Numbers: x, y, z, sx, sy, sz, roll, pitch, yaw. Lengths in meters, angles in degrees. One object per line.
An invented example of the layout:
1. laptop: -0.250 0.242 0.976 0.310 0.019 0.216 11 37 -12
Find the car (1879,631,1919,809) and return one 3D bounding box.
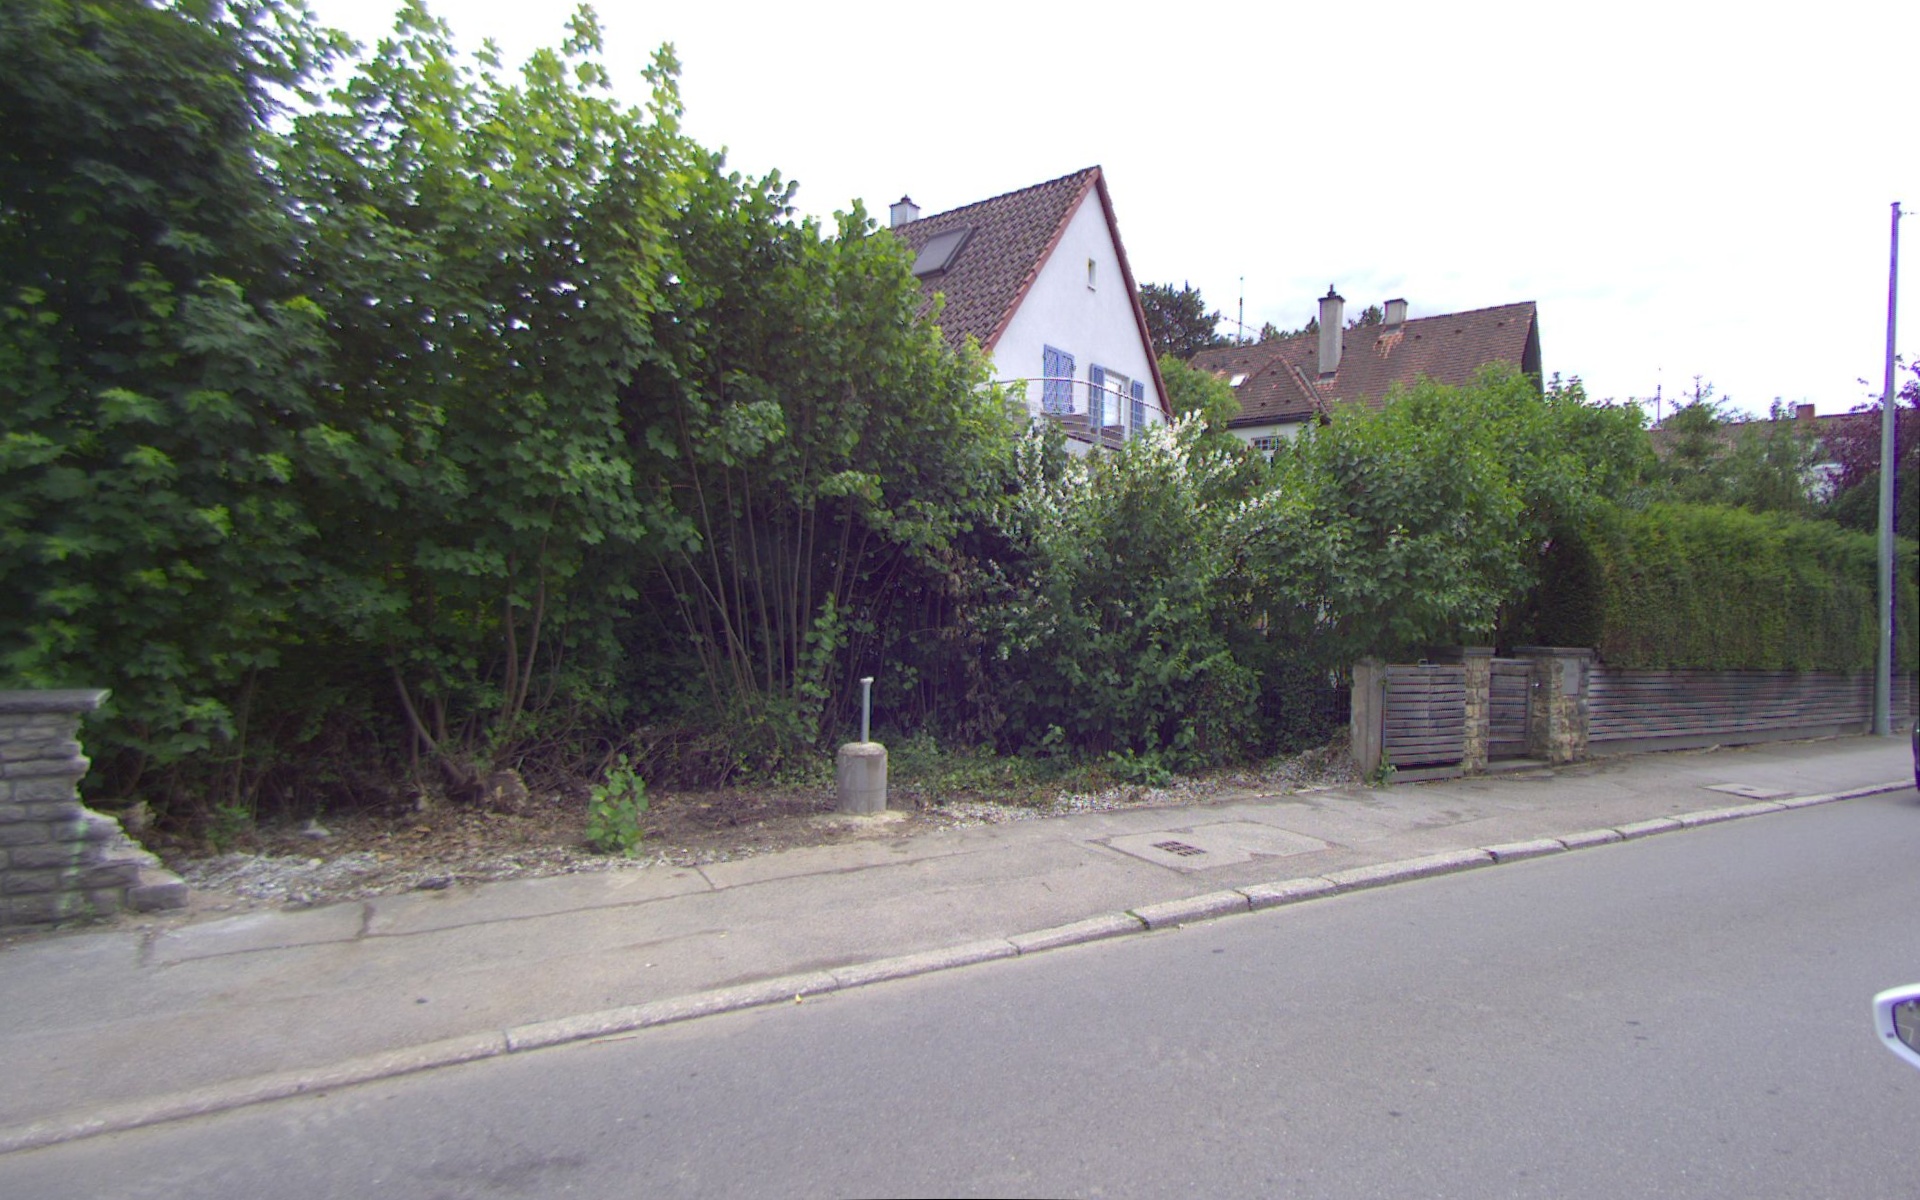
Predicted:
1. car: 11.126 1.174 10.077 4.095 1.677 1.830 2 -4 -33
